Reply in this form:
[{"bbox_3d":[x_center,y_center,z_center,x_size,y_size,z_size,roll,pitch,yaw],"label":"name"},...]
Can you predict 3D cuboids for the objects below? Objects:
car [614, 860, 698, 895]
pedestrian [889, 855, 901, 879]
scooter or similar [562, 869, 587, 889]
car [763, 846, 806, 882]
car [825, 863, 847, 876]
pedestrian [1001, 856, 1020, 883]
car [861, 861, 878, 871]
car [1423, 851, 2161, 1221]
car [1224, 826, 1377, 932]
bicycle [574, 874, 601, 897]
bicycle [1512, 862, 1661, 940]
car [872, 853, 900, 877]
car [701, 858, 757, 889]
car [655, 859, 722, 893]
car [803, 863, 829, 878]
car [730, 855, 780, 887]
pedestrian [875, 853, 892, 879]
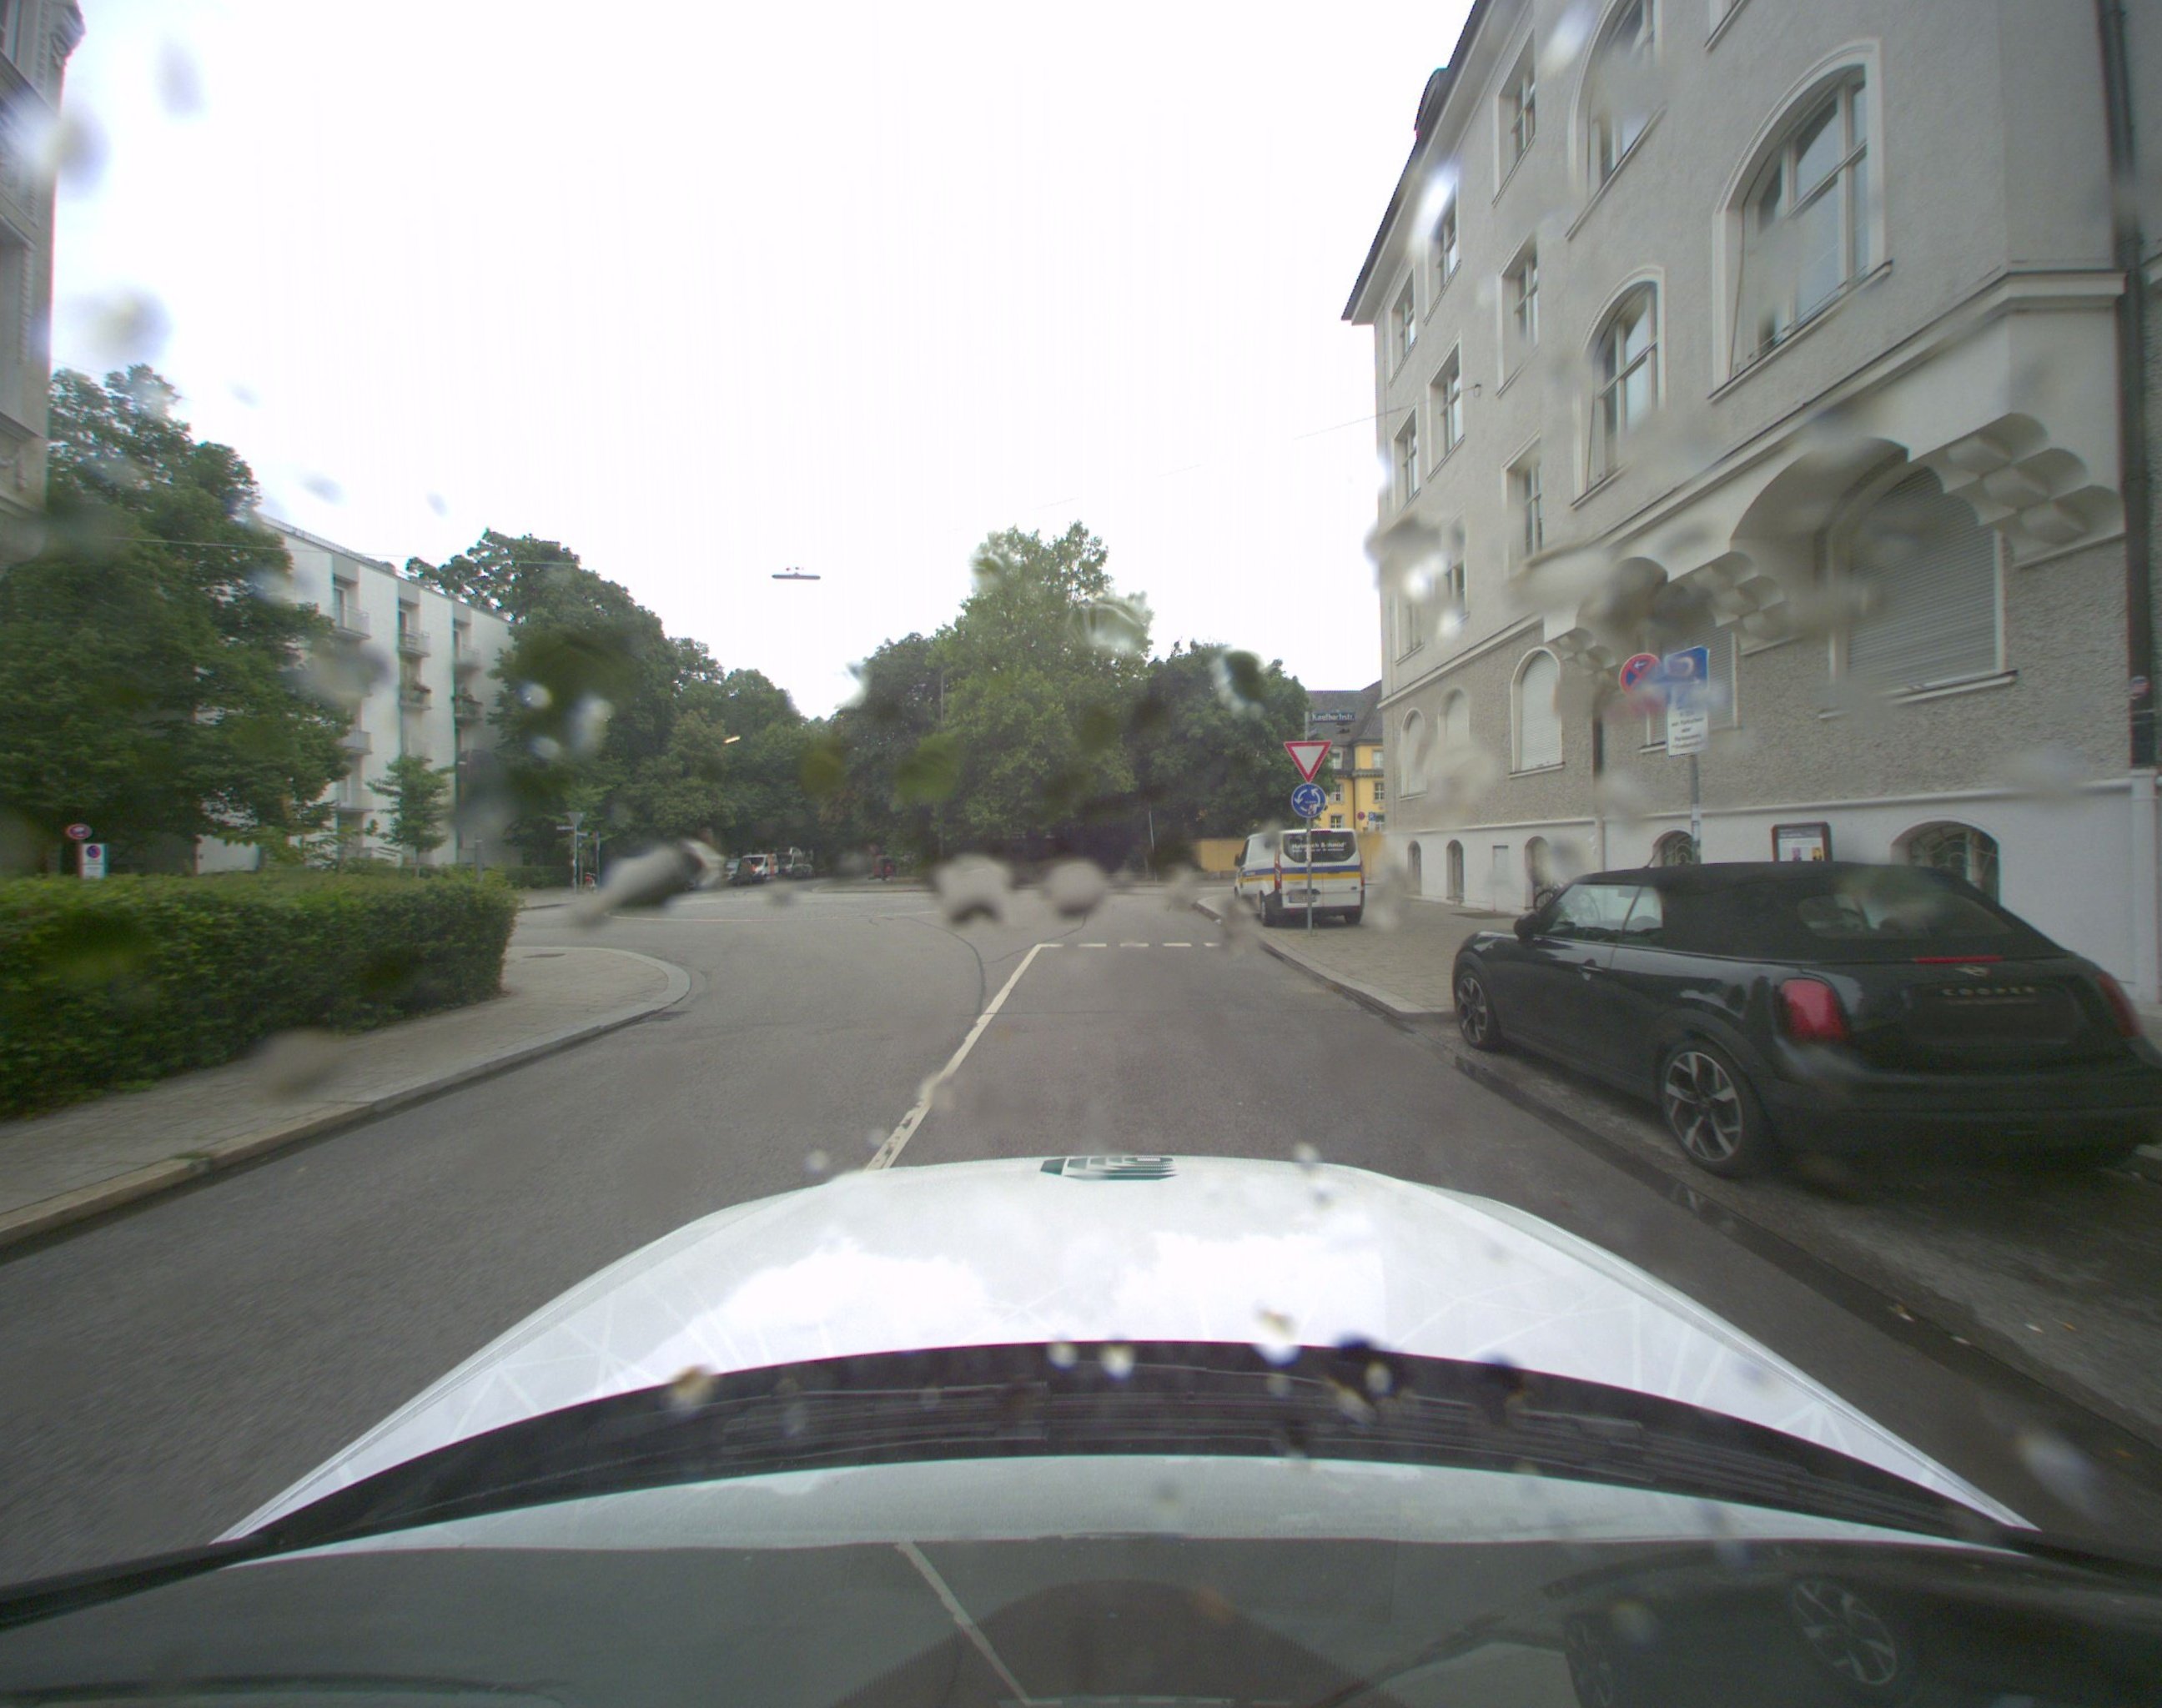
[{"bbox_3d":[-23.026,1.238,44.409,2.080,1.719,5.297,-1,0,-4],"label":"car"},{"bbox_3d":[-13.080,0.905,57.364,0.637,1.667,0.691,-1,-1,-29],"label":"pedestrian"},{"bbox_3d":[-31.694,1.566,50.990,0.701,1.191,1.653,-1,0,-8],"label":"scooter or similar"},{"bbox_3d":[-26.244,0.861,72.274,2.171,3.002,6.217,-1,0,-7],"label":"car"},{"bbox_3d":[-29.093,1.820,96.931,1.993,1.487,4.116,-1,0,-9],"label":"car"},{"bbox_3d":[-3.544,0.764,41.021,0.766,1.356,1.132,-1,0,3],"label":"pedestrian"},{"bbox_3d":[-30.868,1.715,119.169,1.993,1.487,4.116,-1,0,-9],"label":"car"},{"bbox_3d":[3.789,0.732,5.172,1.706,1.445,3.829,-1,0,2],"label":"car"},{"bbox_3d":[4.620,0.469,18.060,1.932,1.922,5.375,-2,0,1],"label":"car"},{"bbox_3d":[-25.545,1.609,42.206,0.753,1.085,1.774,-1,0,-17],"label":"bicycle"},{"bbox_3d":[8.548,0.740,13.970,0.835,1.112,2.758,-4,0,2],"label":"bicycle"},{"bbox_3d":[-16.867,0.958,70.743,1.910,1.937,4.954,-1,0,-9],"label":"car"},{"bbox_3d":[-24.295,1.300,56.386,2.025,1.908,5.651,-2,0,-8],"label":"car"},{"bbox_3d":[-23.784,1.306,49.529,2.080,1.903,4.849,-1,0,-5],"label":"car"},{"bbox_3d":[-27.173,1.660,83.609,1.993,1.420,4.116,-1,0,-9],"label":"car"},{"bbox_3d":[-25.277,1.251,63.417,2.081,2.264,5.591,-3,0,-6],"label":"car"},{"bbox_3d":[-13.938,0.841,57.491,0.825,1.836,0.942,-1,-1,-34],"label":"pedestrian"}]
